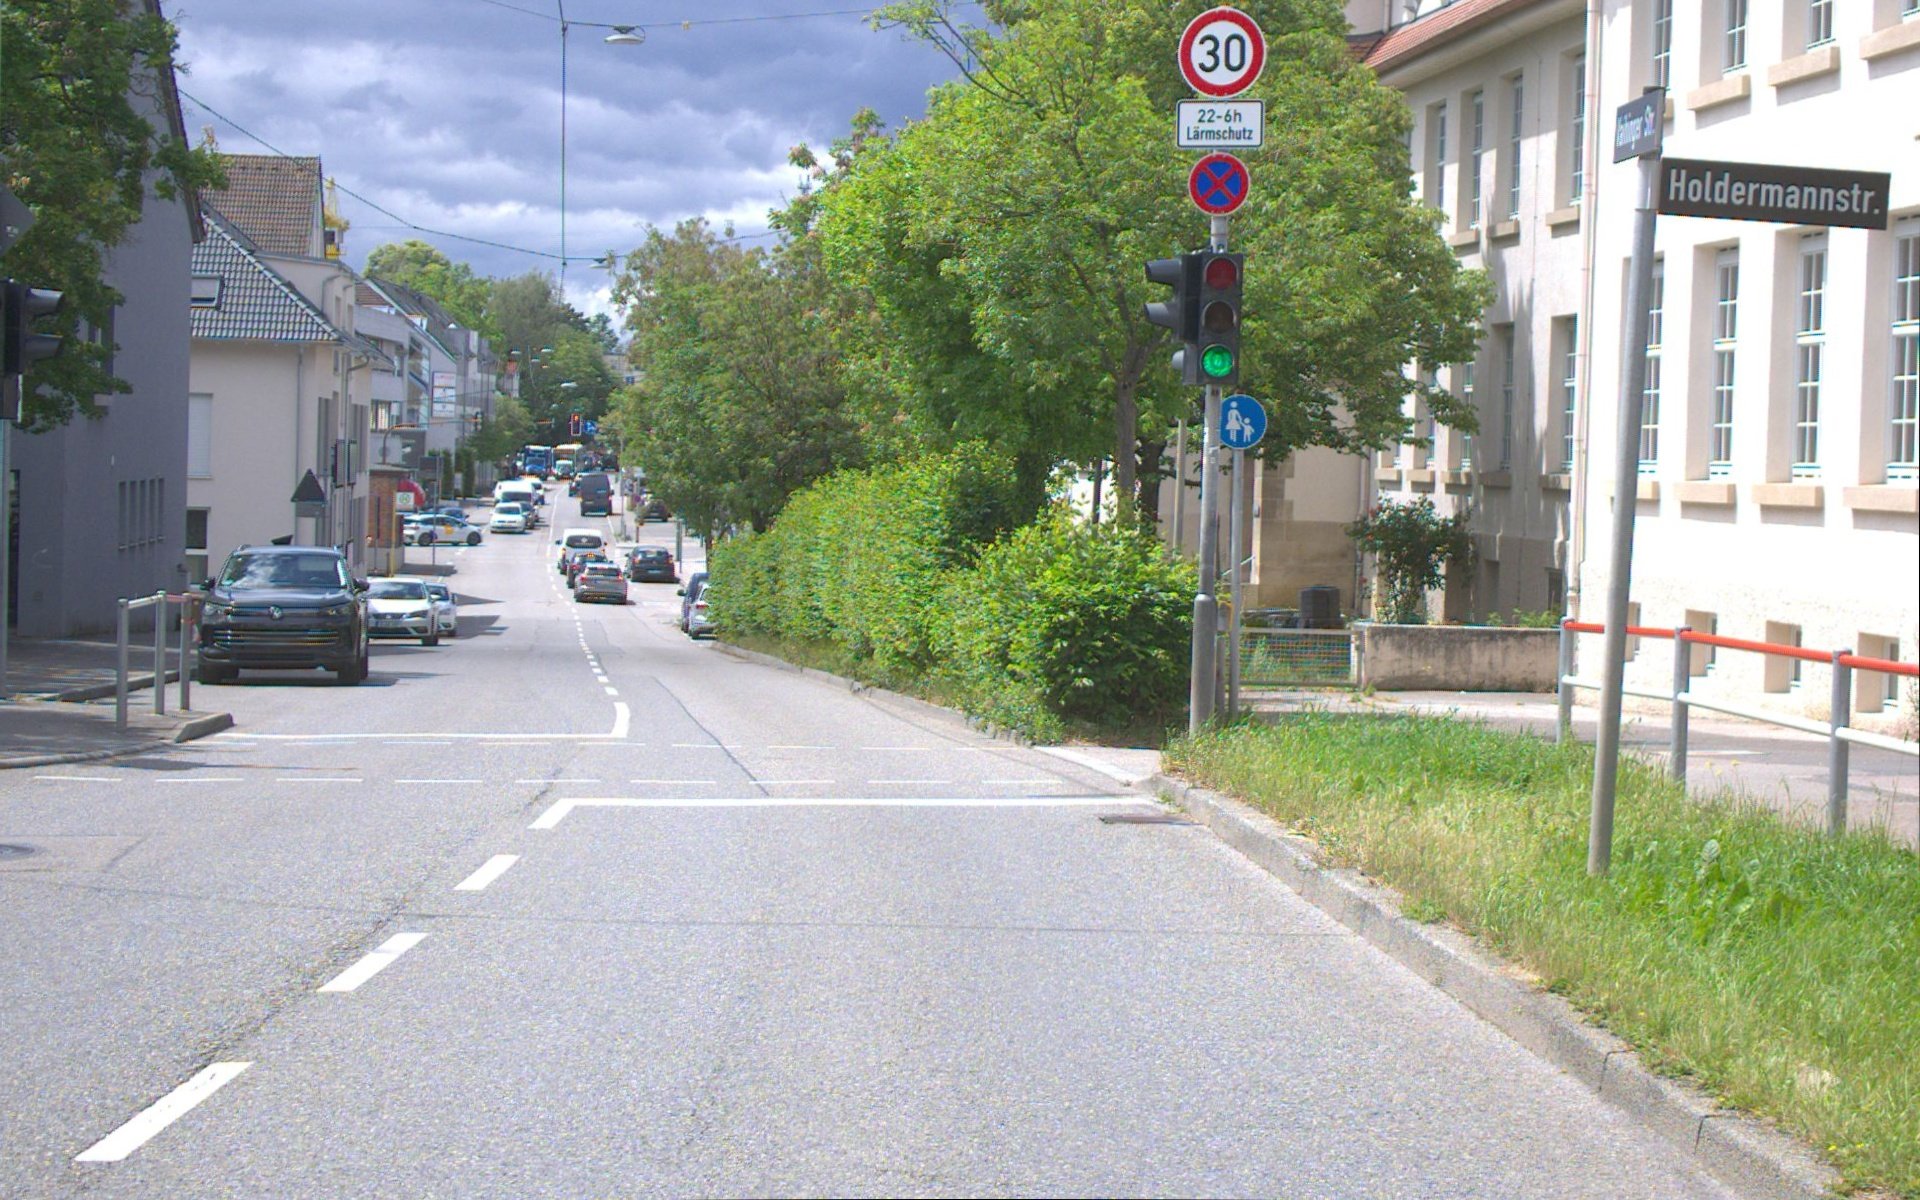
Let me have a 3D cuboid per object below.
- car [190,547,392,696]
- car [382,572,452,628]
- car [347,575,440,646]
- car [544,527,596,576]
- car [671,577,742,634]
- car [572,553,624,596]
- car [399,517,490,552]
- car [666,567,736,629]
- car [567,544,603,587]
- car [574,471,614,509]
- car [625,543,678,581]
[{"bbox_3d":[-7.815,0.206,40.514,1.795,1.605,4.646,2,1,-5],"label":"car"},{"bbox_3d":[-14.452,-0.015,91.690,1.647,1.414,3.699,2,0,-7],"label":"car"},{"bbox_3d":[-12.047,0.198,73.303,1.697,1.385,3.867,1,1,-6],"label":"car"},{"bbox_3d":[-16.630,-2.066,146.507,1.836,1.855,3.852,2,3,-11],"label":"car"},{"bbox_3d":[-7.225,0.142,97.590,1.786,1.504,4.365,2,0,-7],"label":"car"},{"bbox_3d":[-13.462,-0.954,127.699,1.743,1.412,4.001,1,2,-8],"label":"car"},{"bbox_3d":[-25.228,-3.191,168.308,3.987,1.487,1.788,3,0,-33],"label":"car"},{"bbox_3d":[-7.811,-0.081,103.415,1.844,1.761,4.516,2,0,-7],"label":"car"},{"bbox_3d":[-15.016,-1.386,137.558,1.273,1.522,3.052,1,4,-9],"label":"car"},{"bbox_3d":[-24.197,-7.246,226.952,2.436,2.310,5.328,3,1,-7],"label":"car"},{"bbox_3d":[-12.910,-1.590,143.657,1.752,1.366,4.002,2,3,-11],"label":"car"}]
